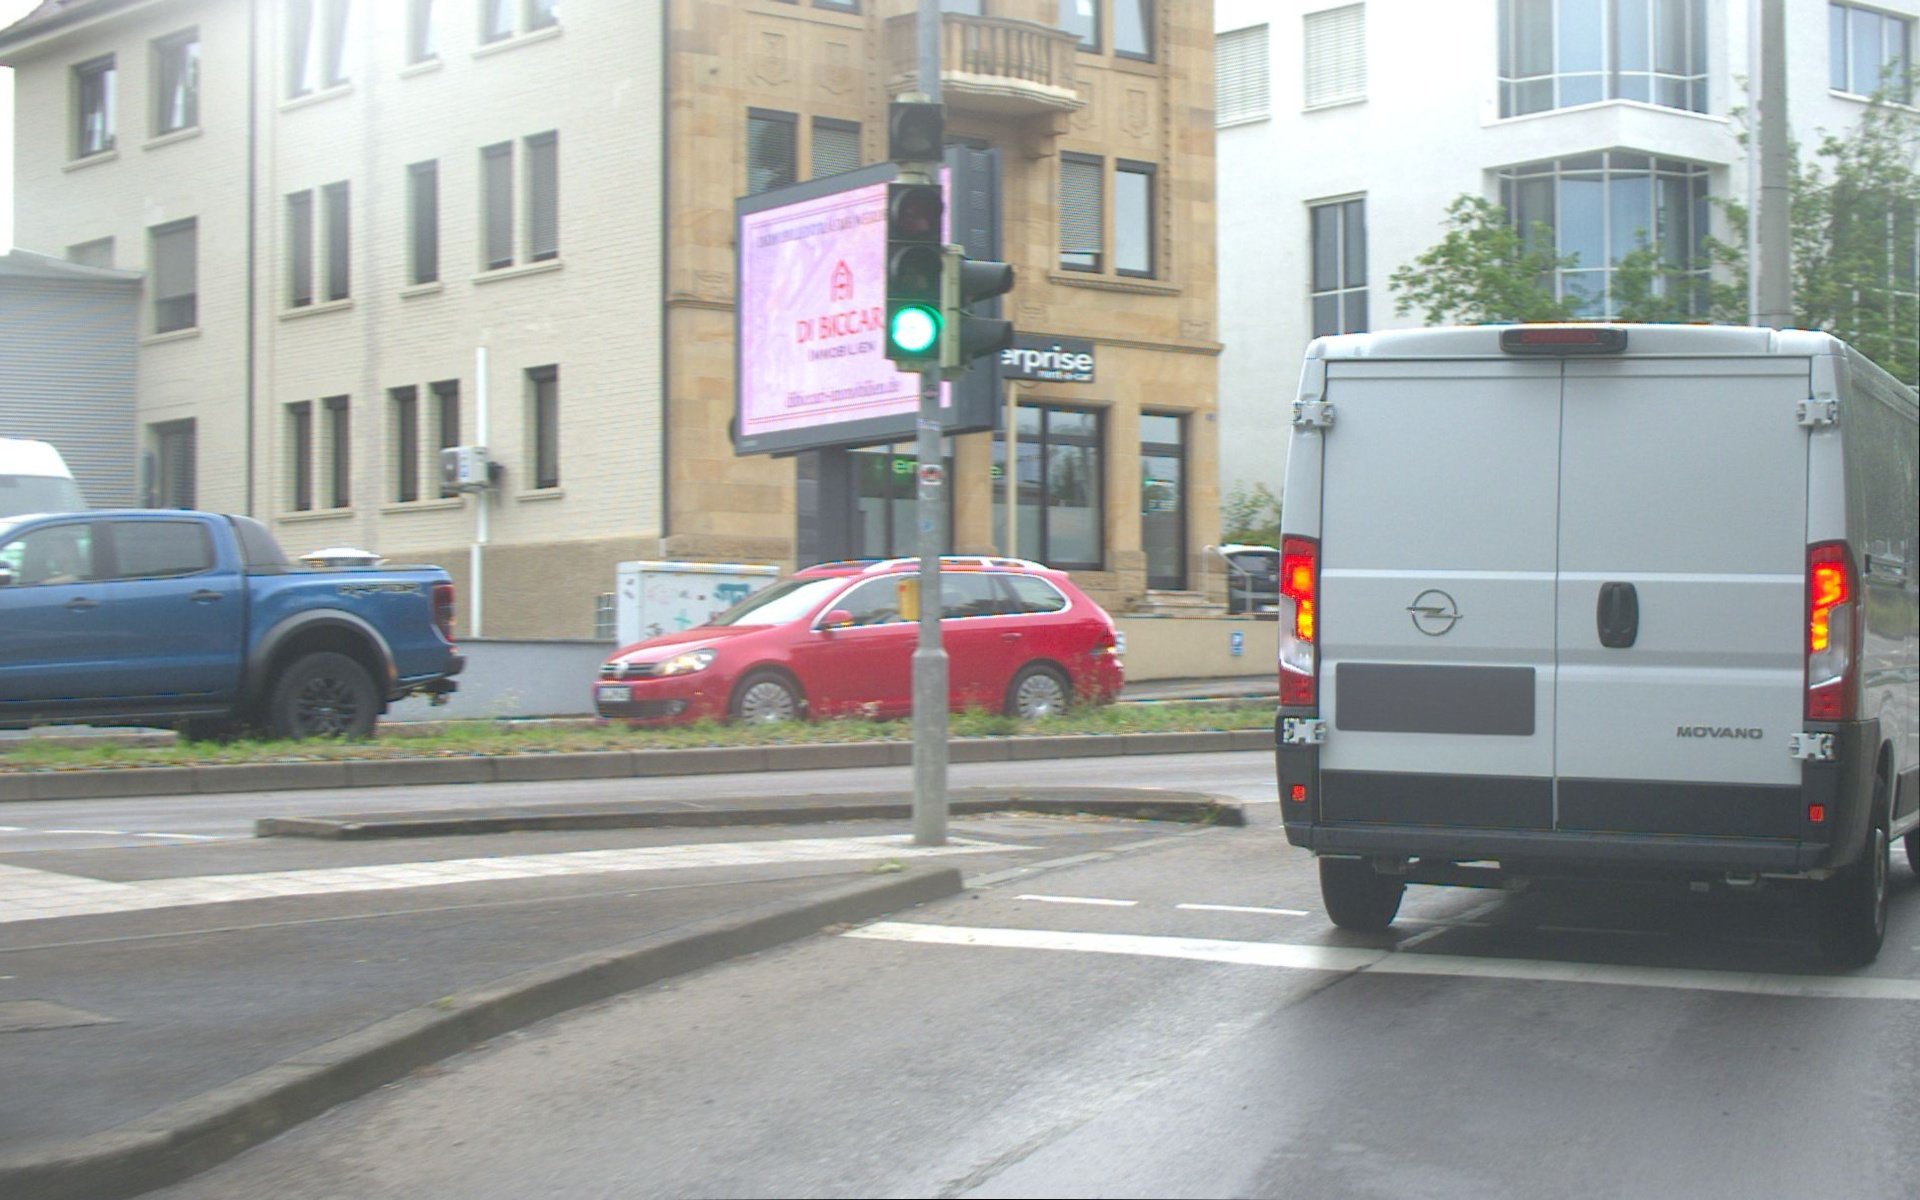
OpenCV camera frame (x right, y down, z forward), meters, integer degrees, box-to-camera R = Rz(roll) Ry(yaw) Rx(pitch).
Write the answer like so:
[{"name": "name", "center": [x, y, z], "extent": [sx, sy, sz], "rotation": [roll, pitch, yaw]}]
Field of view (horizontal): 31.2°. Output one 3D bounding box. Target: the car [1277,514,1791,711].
[{"name": "car", "center": [5.386, 0.099, 32.053], "extent": [4.611, 1.691, 1.961], "rotation": [-1, -1, -35]}]

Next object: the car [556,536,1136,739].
[{"name": "car", "center": [-0.879, 0.337, 27.794], "extent": [4.427, 1.526, 1.812], "rotation": [1, -2, -36]}]

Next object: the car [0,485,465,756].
[{"name": "car", "center": [-6.287, 0.154, 24.316], "extent": [5.154, 1.812, 1.939], "rotation": [-1, -1, -35]}]

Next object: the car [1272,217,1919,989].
[{"name": "car", "center": [2.882, -0.077, 13.821], "extent": [2.052, 2.508, 4.939], "rotation": [2, 2, 19]}]

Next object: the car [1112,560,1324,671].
[{"name": "car", "center": [4.073, 0.266, 54.577], "extent": [1.711, 1.670, 3.051], "rotation": [1, -2, -40]}]

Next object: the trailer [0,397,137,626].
[{"name": "trailer", "center": [-12.369, -0.924, 40.953], "extent": [2.388, 2.420, 7.118], "rotation": [1, -2, -36]}]

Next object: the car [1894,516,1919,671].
[{"name": "car", "center": [12.106, -0.052, 36.352], "extent": [4.713, 1.599, 1.693], "rotation": [1, -2, -36]}]
